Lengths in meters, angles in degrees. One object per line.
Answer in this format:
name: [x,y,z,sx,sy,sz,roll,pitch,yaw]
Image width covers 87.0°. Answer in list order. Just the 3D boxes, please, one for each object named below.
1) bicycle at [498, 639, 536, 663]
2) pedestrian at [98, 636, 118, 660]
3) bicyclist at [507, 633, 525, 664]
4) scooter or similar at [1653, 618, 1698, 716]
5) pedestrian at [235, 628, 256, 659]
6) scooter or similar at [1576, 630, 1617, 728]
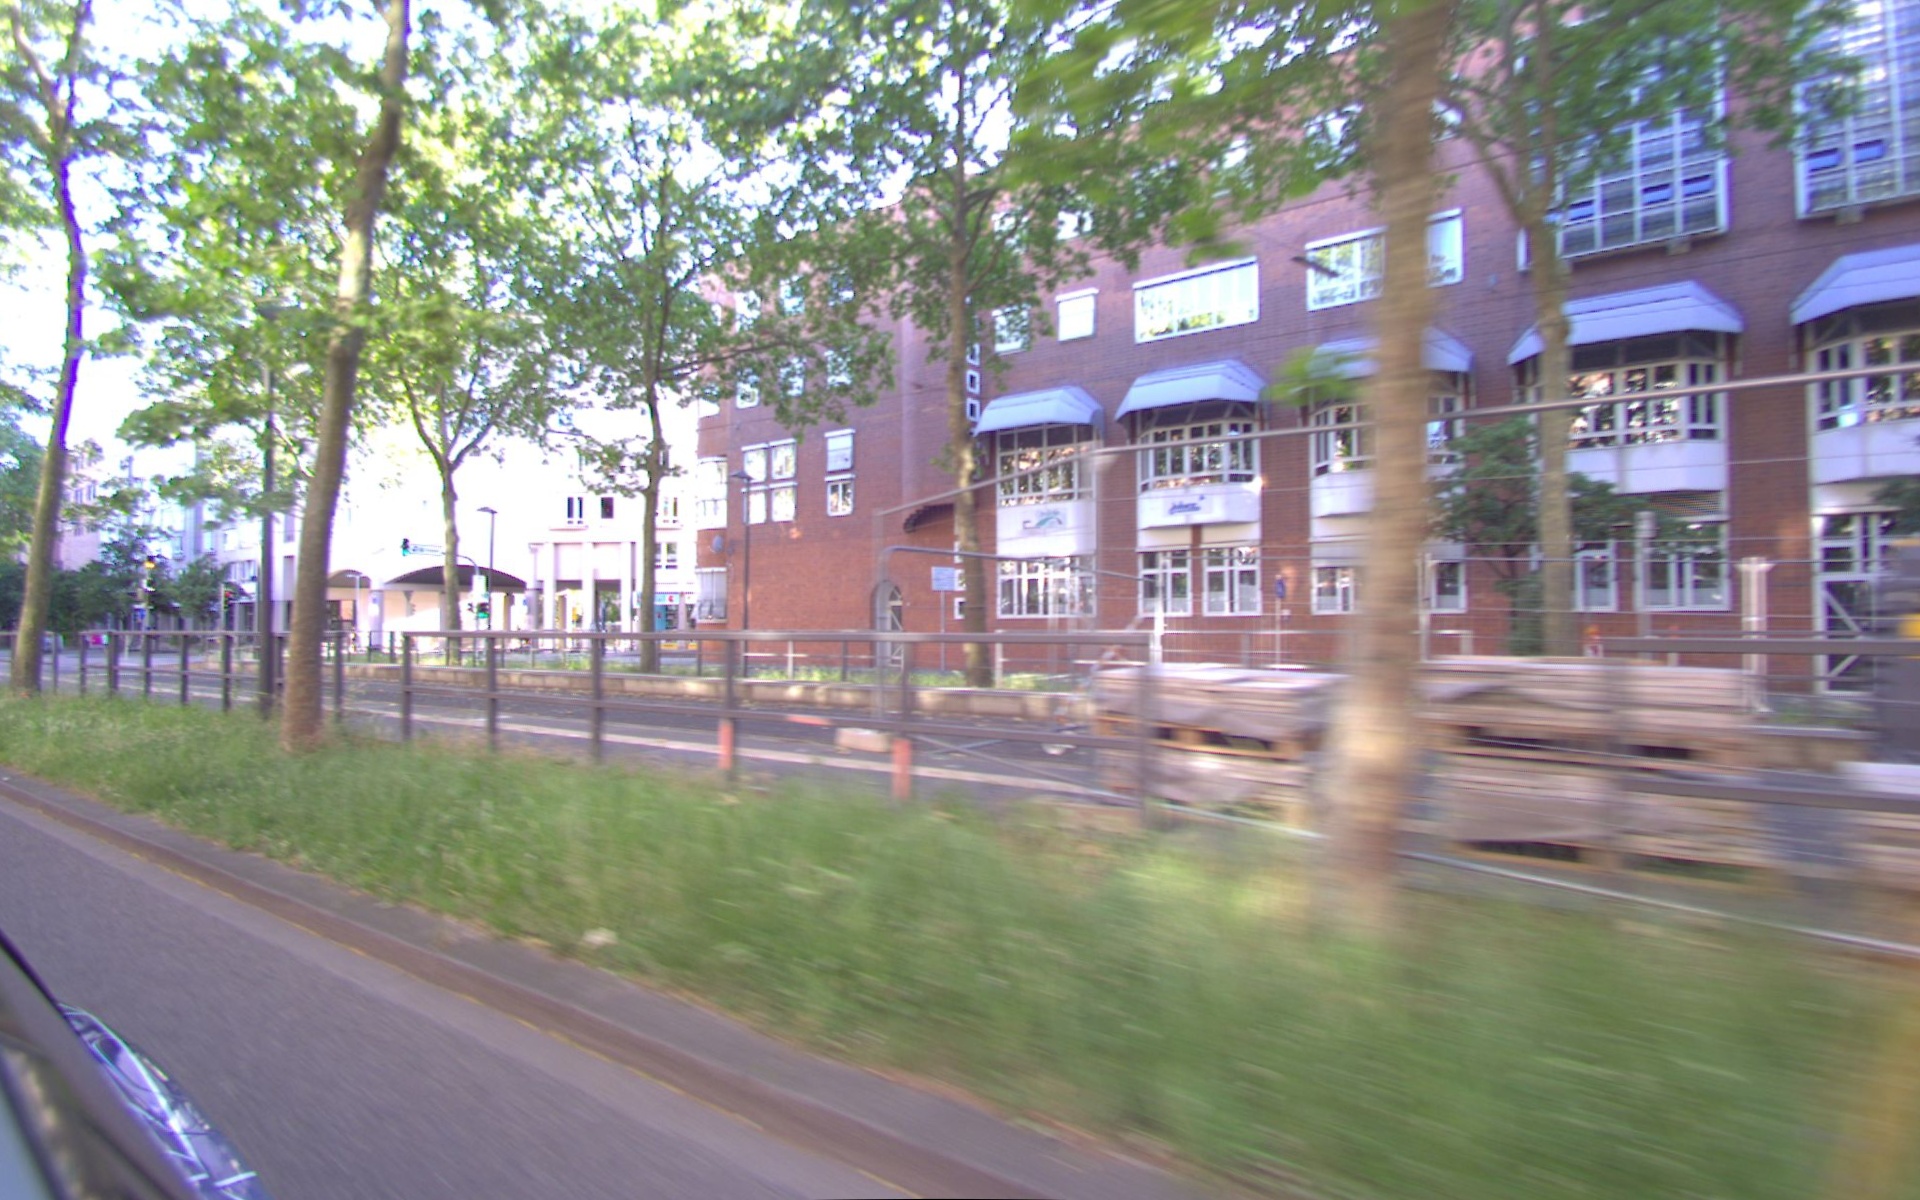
bicycle: [-24.907,2.872,56.886,1.796,1.271,0.772,-1,0,6]
pedestrian: [-60.188,3.397,71.478,0.876,1.613,0.993,-1,0,42]
bicyclist: [-24.946,2.714,56.887,0.660,1.661,0.718,-1,0,6]
scooter or similar: [12.933,1.194,18.313,0.572,1.739,0.526,-1,0,28]
pedestrian: [-47.274,2.854,66.948,0.876,2.029,0.993,-1,0,42]
scooter or similar: [11.564,1.415,18.401,0.572,1.739,0.526,-1,0,28]
